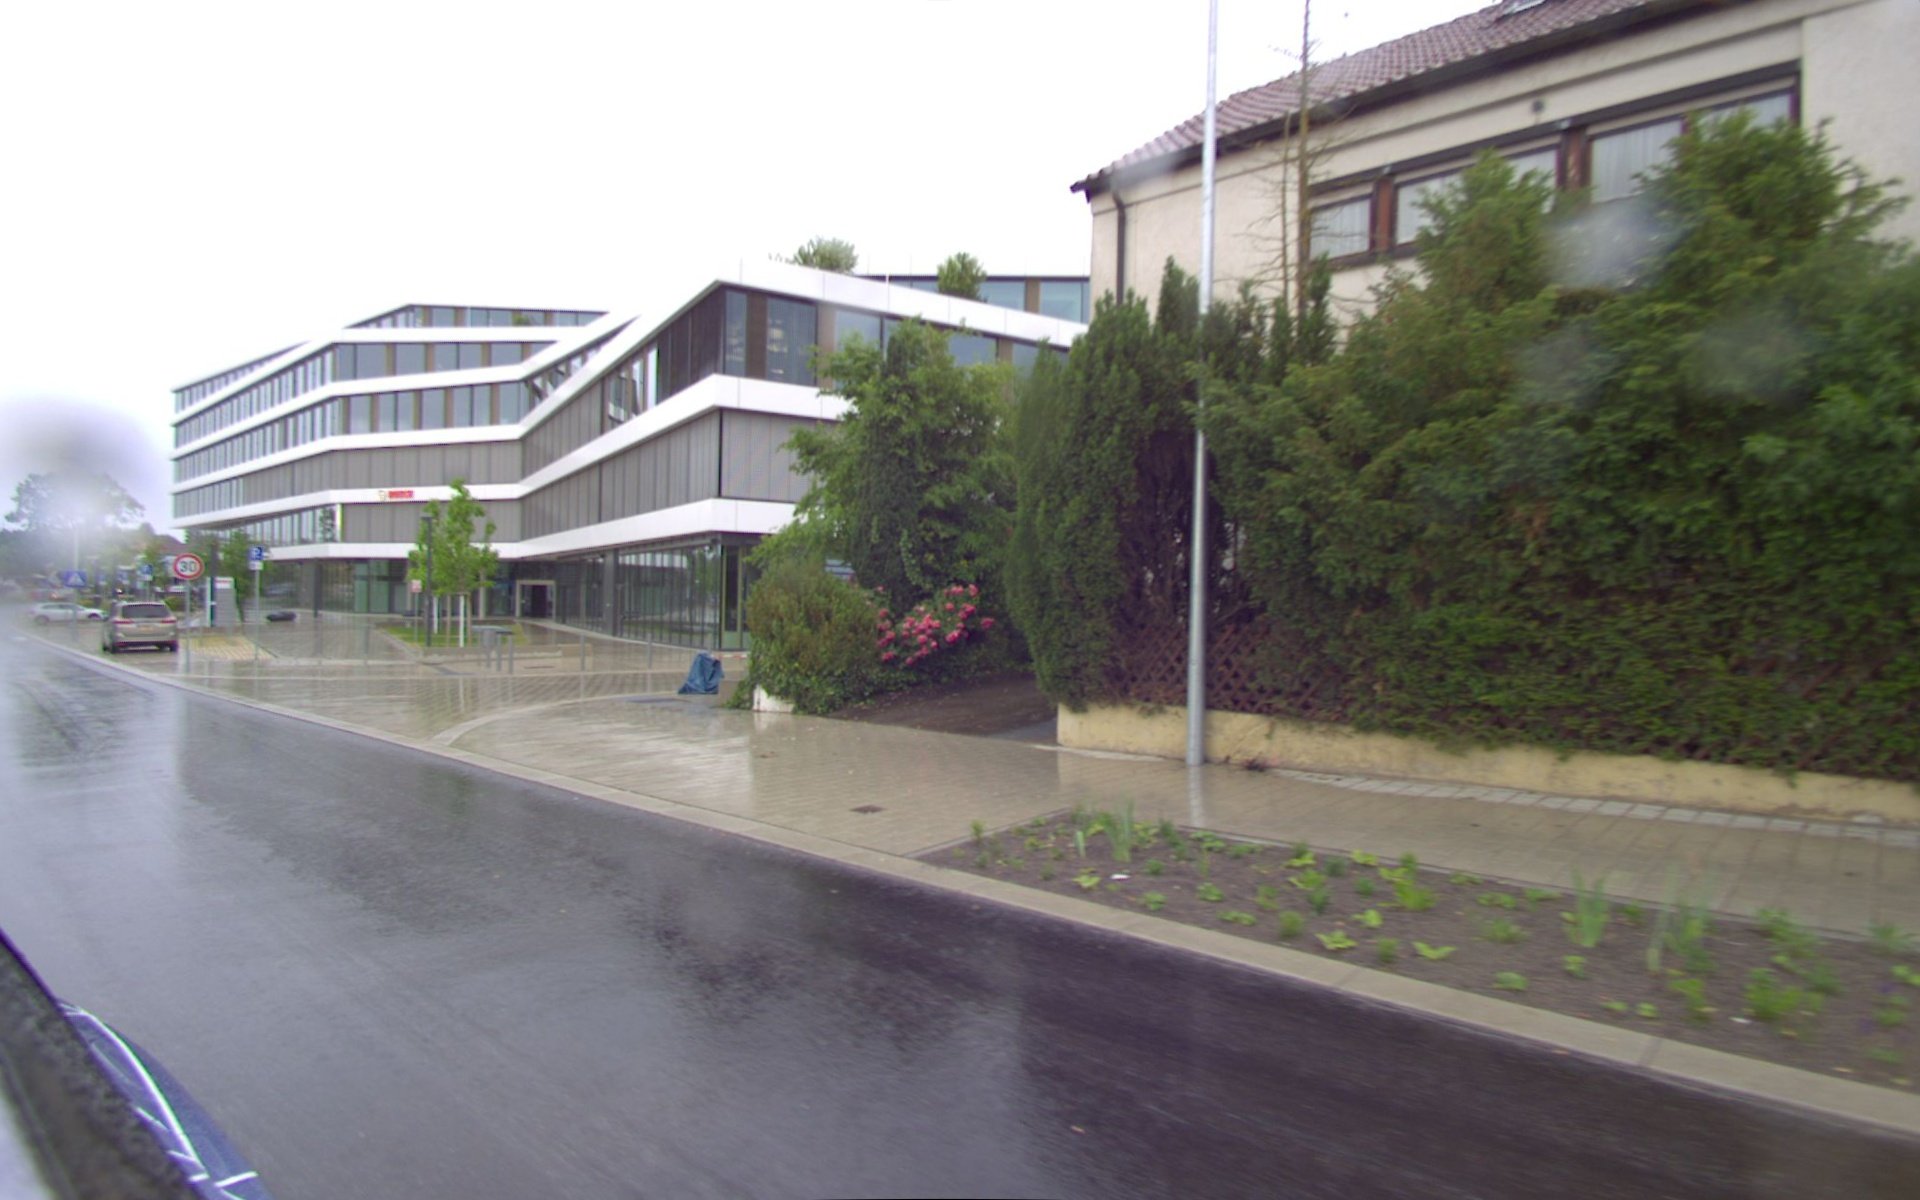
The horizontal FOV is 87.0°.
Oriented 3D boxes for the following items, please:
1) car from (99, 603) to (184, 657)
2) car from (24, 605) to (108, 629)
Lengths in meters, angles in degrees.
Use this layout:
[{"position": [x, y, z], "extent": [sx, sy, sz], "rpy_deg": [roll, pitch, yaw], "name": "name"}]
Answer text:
[{"position": [-27.630, 0.960, 34.111], "extent": [1.816, 1.719, 4.326], "rpy_deg": [1, -1, -45], "name": "car"}, {"position": [-59.140, 1.113, 67.025], "extent": [4.106, 1.430, 2.003], "rpy_deg": [-2, 1, -42], "name": "car"}]
